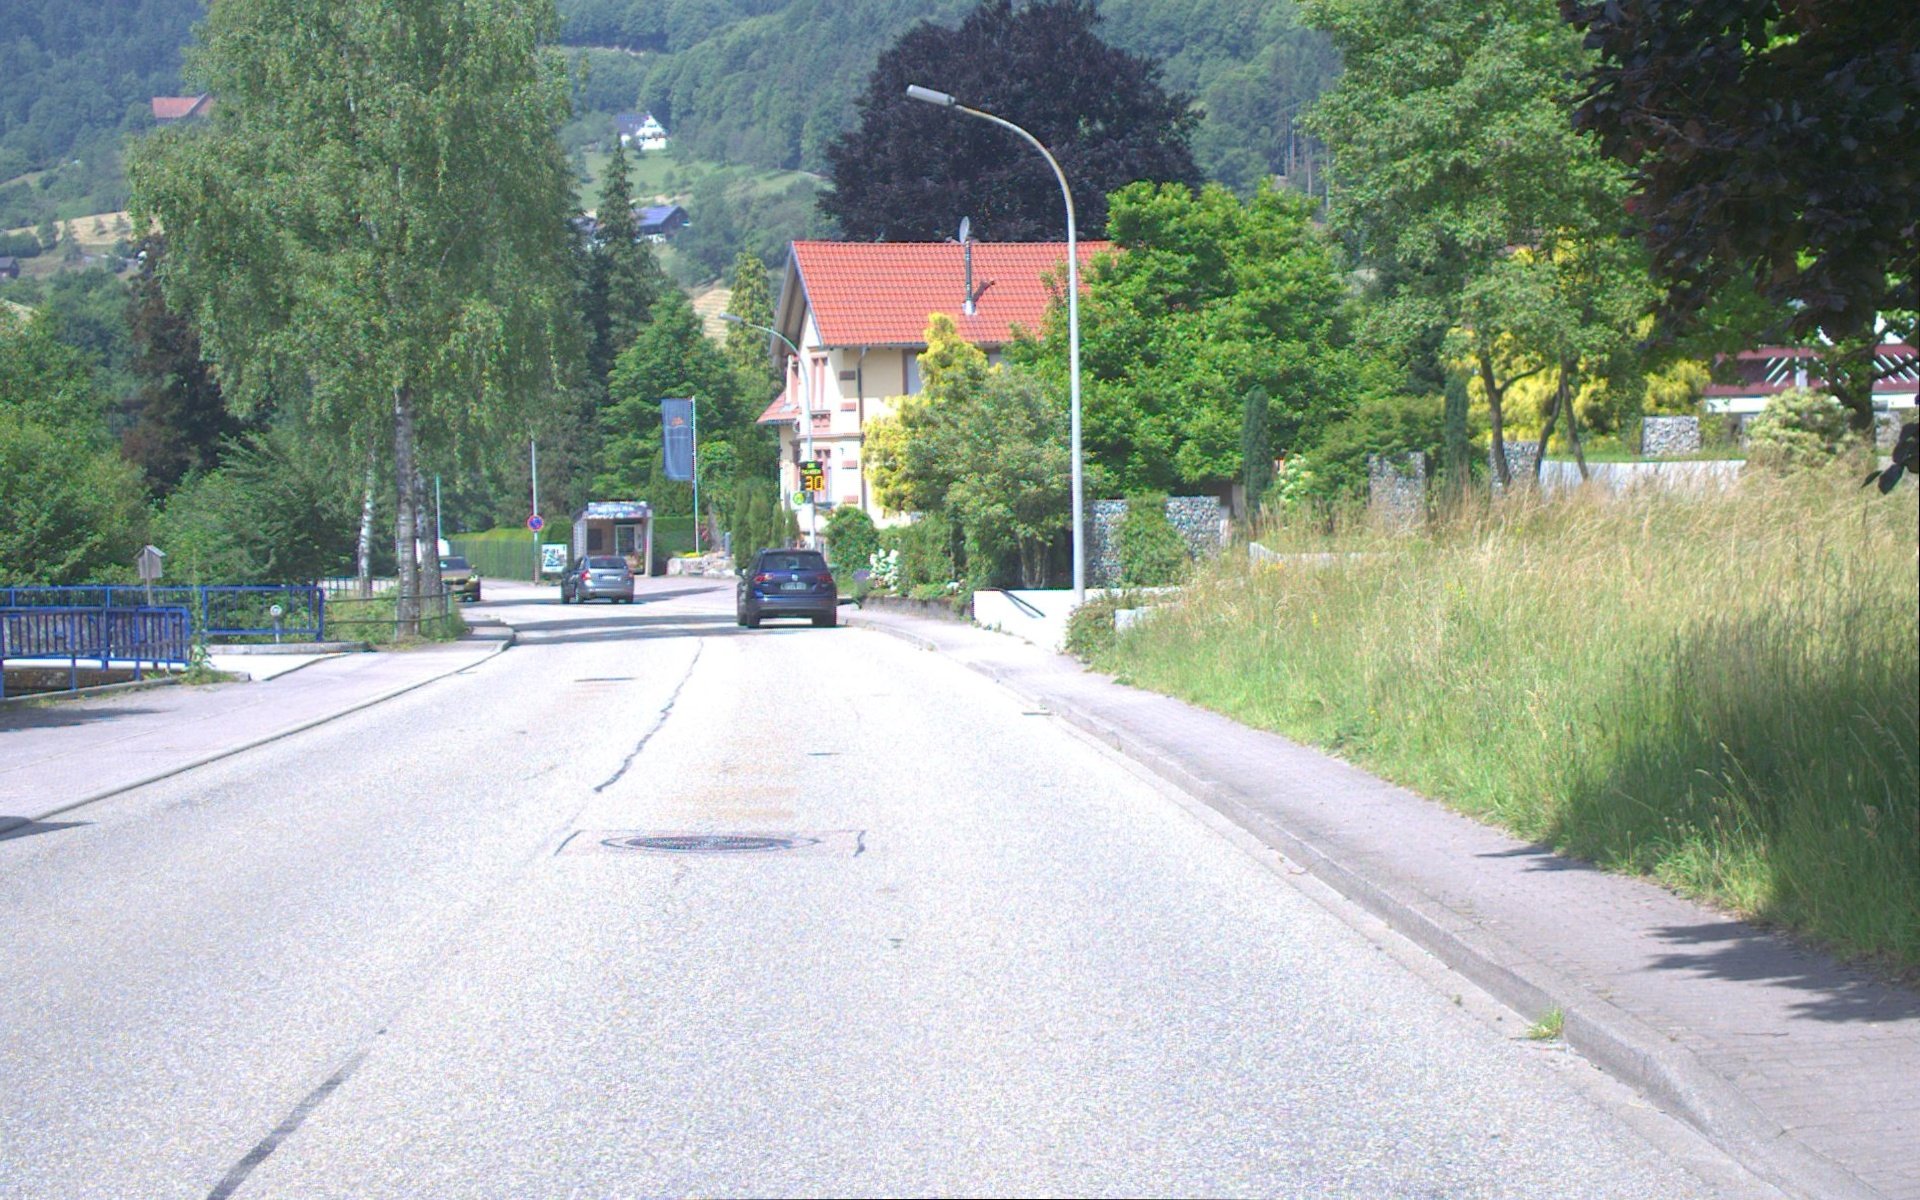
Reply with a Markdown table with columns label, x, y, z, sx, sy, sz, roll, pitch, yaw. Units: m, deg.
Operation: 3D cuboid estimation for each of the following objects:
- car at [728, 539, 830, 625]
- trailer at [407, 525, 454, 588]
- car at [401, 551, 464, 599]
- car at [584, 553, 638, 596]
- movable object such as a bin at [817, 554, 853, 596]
| label | x | y | z | sx | sy | sz | roll | pitch | yaw |
| --- | --- | --- | --- | --- | --- | --- | --- | --- | --- |
| car | -3.826 | -0.392 | 72.082 | 1.919 | 1.692 | 3.789 | -2 | 1 | -5 |
| trailer | -18.007 | -1.481 | 116.813 | 1.466 | 2.070 | 3.671 | -2 | 1 | -9 |
| car | -17.305 | -0.830 | 112.668 | 1.813 | 1.495 | 4.150 | -2 | 1 | -11 |
| car | -10.556 | -0.789 | 104.191 | 1.476 | 1.205 | 2.384 | -2 | 1 | -3 |
| movable object such as a bin | -3.188 | -0.641 | 87.573 | 0.809 | 1.039 | 0.579 | -2 | 1 | -11 |
